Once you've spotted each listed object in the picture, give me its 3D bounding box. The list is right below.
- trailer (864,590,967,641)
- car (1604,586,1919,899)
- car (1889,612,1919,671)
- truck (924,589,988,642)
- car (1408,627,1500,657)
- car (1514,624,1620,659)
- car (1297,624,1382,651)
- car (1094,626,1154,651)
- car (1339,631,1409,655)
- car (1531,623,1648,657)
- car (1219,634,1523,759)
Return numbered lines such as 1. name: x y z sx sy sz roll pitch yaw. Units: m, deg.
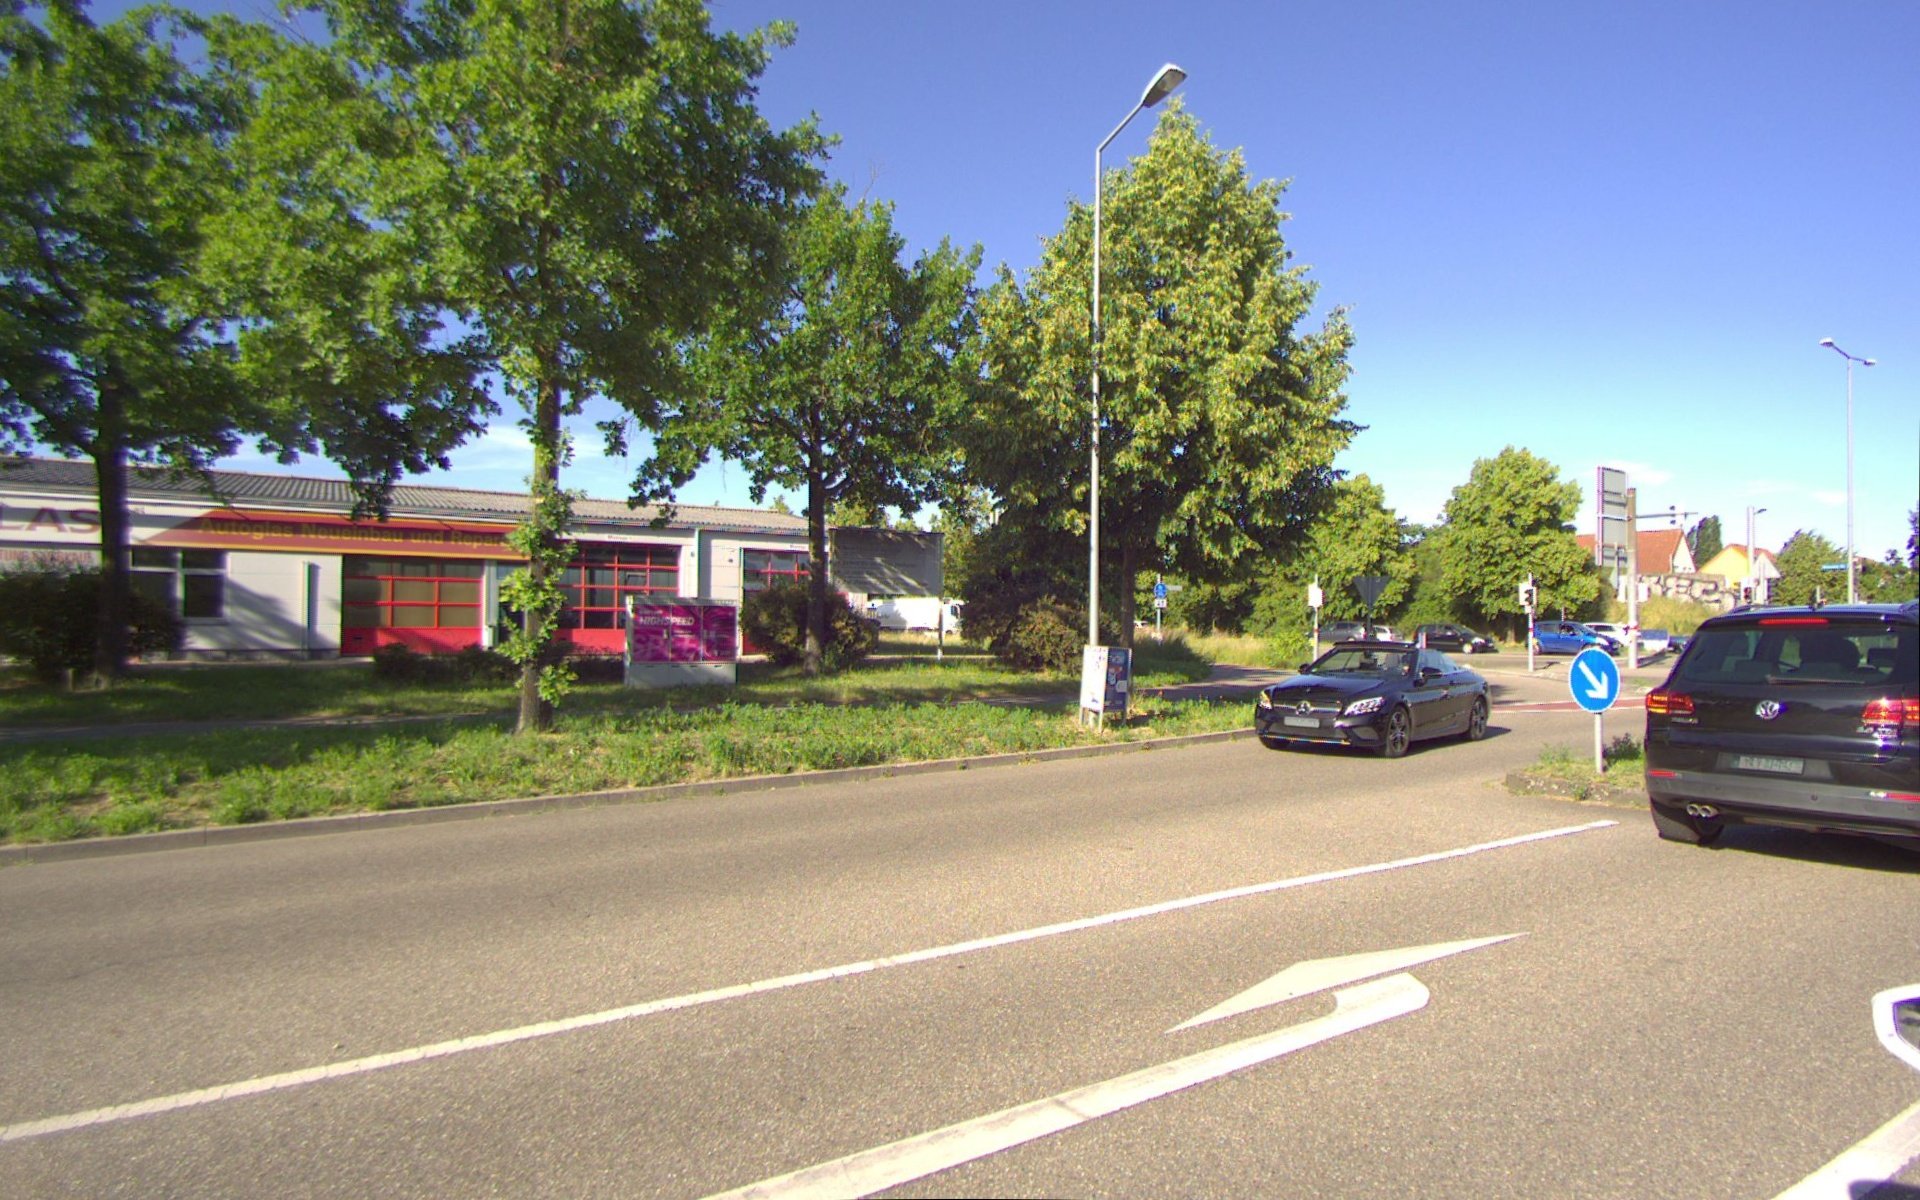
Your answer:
1. trailer: -3.689 1.227 78.424 2.372 3.745 11.400 1 -1 -35
2. car: 6.557 0.862 7.079 3.956 1.695 1.812 2 -3 -31
3. car: 30.738 1.272 30.069 1.444 1.824 4.084 2 -2 -35
4. truck: -0.310 1.143 73.737 2.388 3.744 4.768 1 -1 -36
5. car: 24.551 2.072 50.007 1.494 1.330 3.817 2 -1 -38
6. car: 27.704 1.885 45.928 1.668 1.403 3.817 2 -1 -38
7. car: 23.392 2.313 62.051 1.980 1.560 4.671 1 -1 -35
8. car: 12.508 2.903 76.638 4.338 1.705 1.701 1 -1 45
9. car: 26.224 2.730 63.721 1.666 1.358 3.822 2 -1 -34
10. car: 31.645 1.984 50.623 1.979 1.560 4.675 1 -1 -33
11. car: 5.765 1.228 13.840 4.550 1.421 1.978 1 -4 -40
